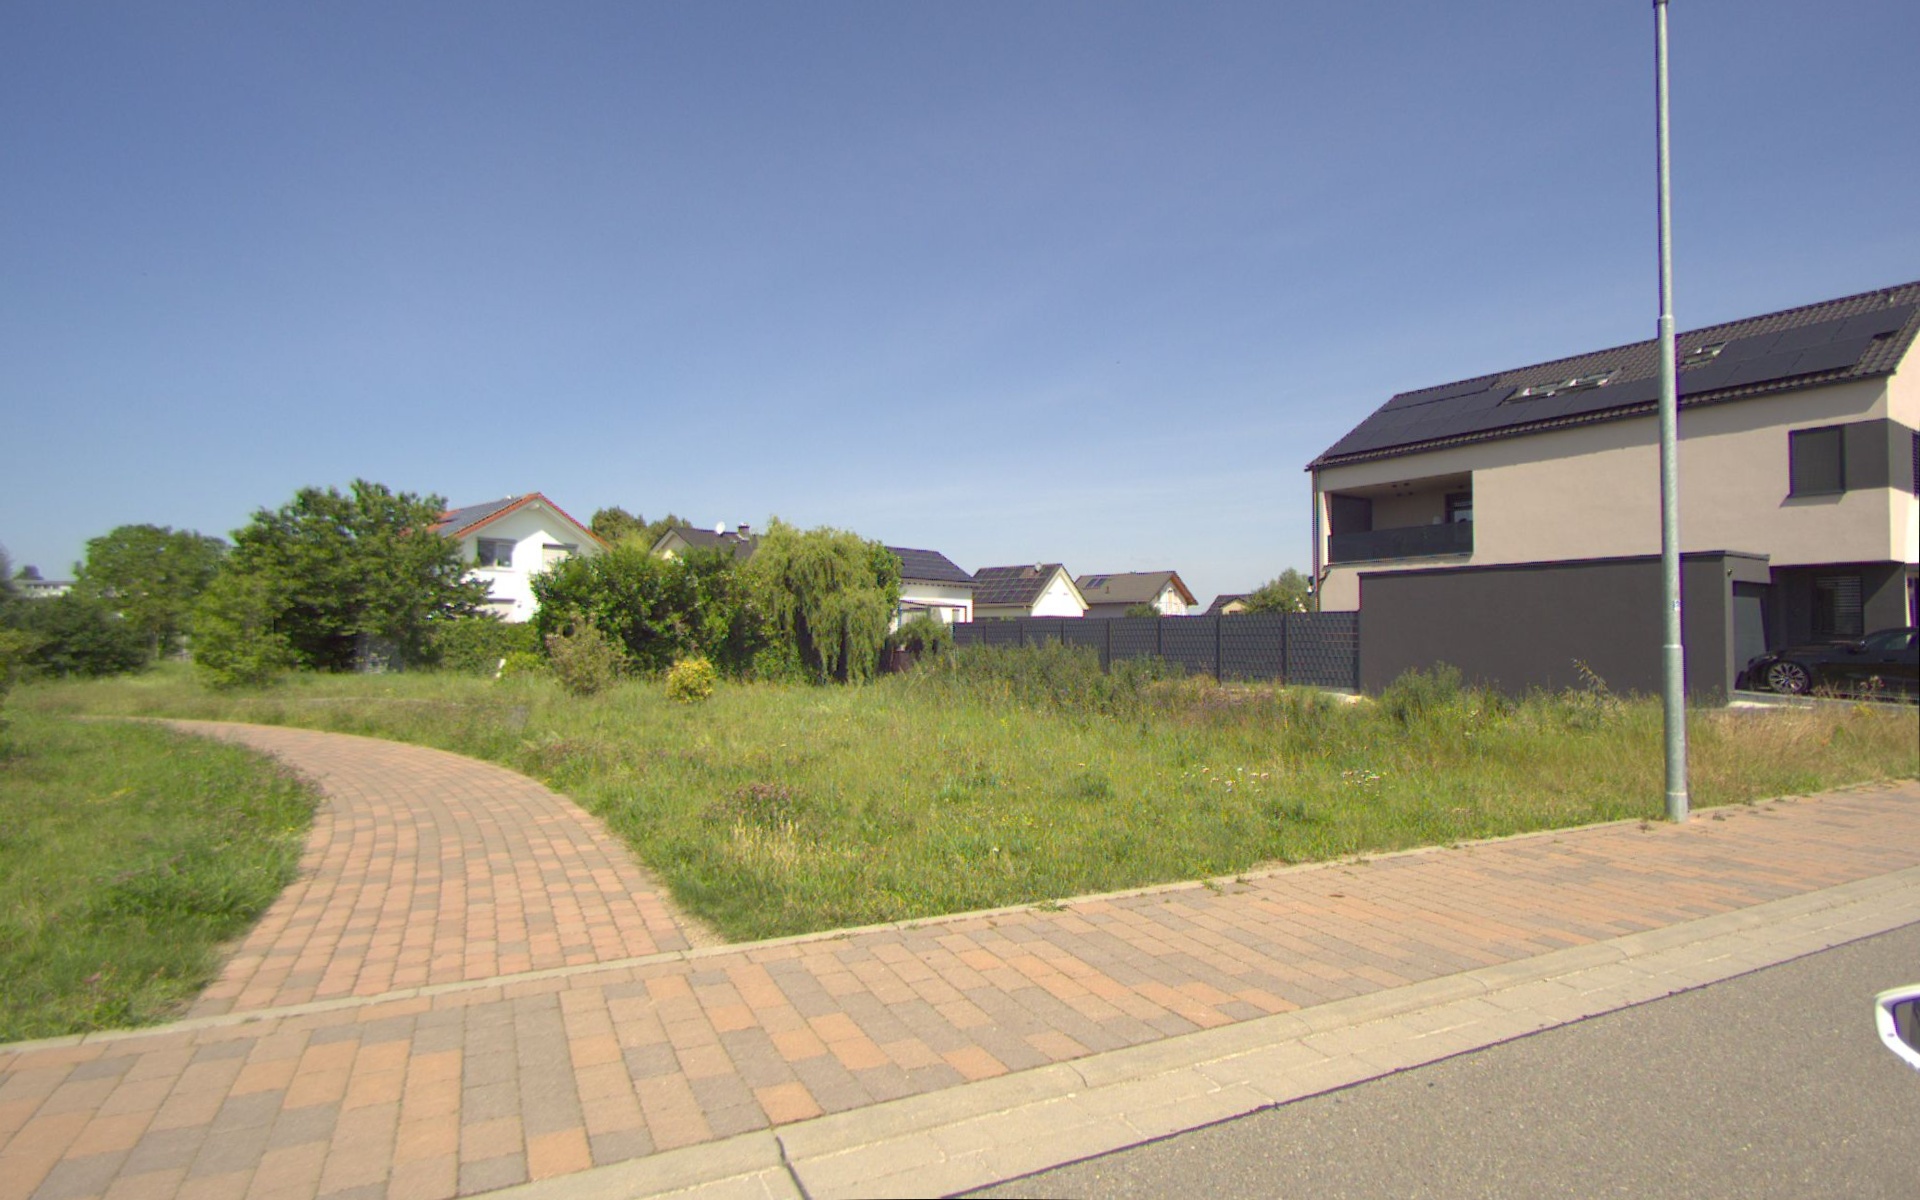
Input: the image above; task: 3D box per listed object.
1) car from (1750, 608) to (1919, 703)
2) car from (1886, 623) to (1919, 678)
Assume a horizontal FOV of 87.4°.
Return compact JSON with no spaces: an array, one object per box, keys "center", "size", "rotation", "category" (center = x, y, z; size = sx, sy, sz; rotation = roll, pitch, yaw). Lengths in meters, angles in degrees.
[{"center":[17.810,1.038,18.842],"size":[1.752,1.653,4.349],"rotation":[1,0,-33],"category":"car"},{"center":[27.779,1.364,26.991],"size":[1.734,1.506,3.966],"rotation":[1,-2,-31],"category":"car"}]
